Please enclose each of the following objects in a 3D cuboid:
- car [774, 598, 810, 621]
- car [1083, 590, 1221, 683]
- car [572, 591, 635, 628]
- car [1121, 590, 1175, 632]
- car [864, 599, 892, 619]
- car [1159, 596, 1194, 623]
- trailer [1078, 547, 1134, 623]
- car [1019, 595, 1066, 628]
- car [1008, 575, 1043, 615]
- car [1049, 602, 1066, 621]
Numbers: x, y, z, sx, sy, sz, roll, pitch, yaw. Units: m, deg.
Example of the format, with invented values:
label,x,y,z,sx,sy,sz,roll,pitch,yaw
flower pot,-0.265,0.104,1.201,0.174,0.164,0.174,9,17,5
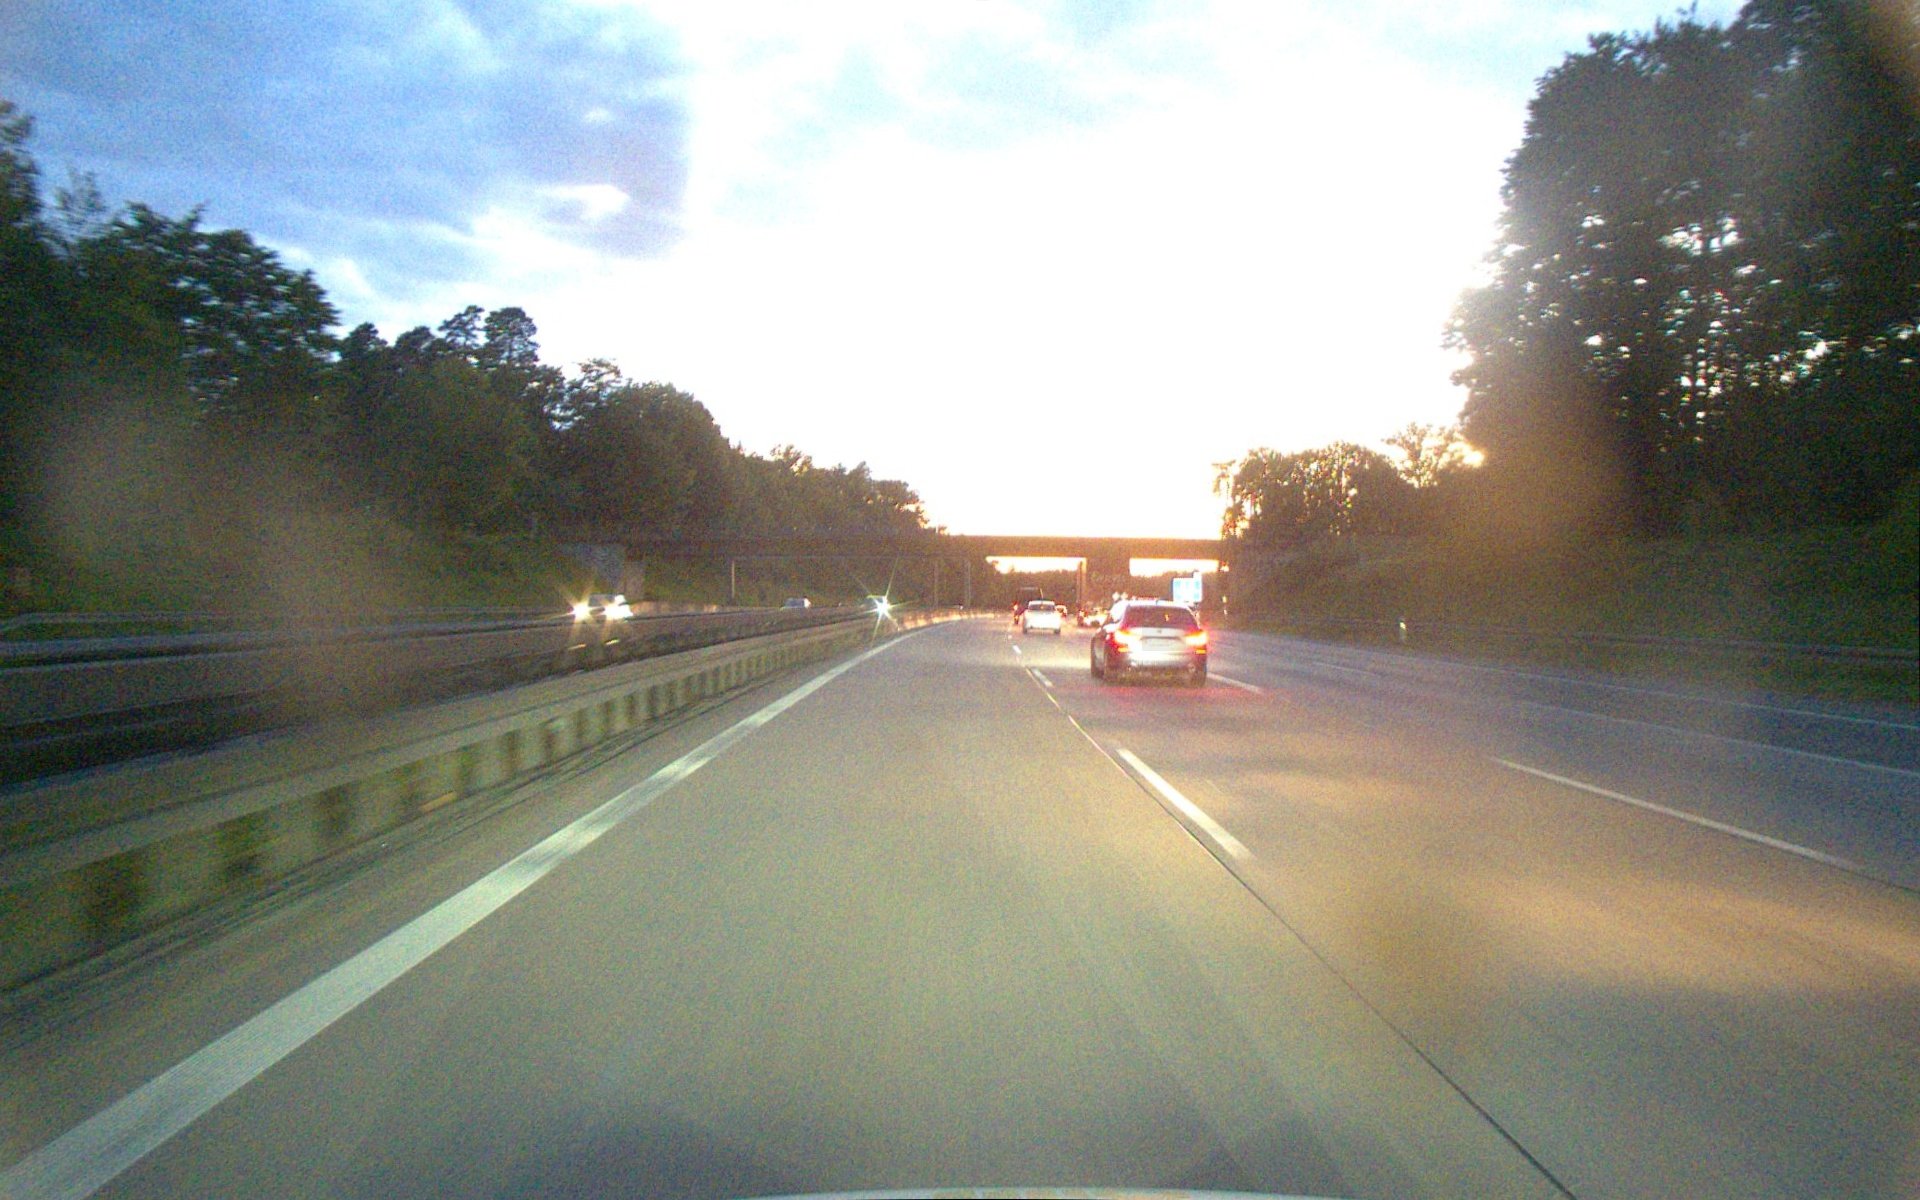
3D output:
label,x,y,z,sx,sy,sz,roll,pitch,yaw
car,-11.106,0.595,109.564,1.836,1.468,4.451,0,1,1
car,3.525,0.619,31.278,1.870,1.564,5.230,0,1,-2
car,-15.088,0.400,70.137,1.805,1.480,3.602,1,0,1
car,7.686,0.464,67.884,1.863,1.672,5.053,0,-1,3
car,-6.240,0.661,125.875,1.836,1.468,4.451,0,1,1
car,12.741,0.576,97.594,1.820,1.467,4.113,0,-1,4
trailer,8.651,-0.807,99.225,2.846,4.173,10.359,1,-1,2
car,3.779,0.515,76.563,1.822,1.467,3.718,0,0,-3
car,4.457,-0.306,111.512,2.120,2.461,5.566,1,-1,4
car,12.794,1.521,216.704,2.120,2.461,5.565,1,-1,2
